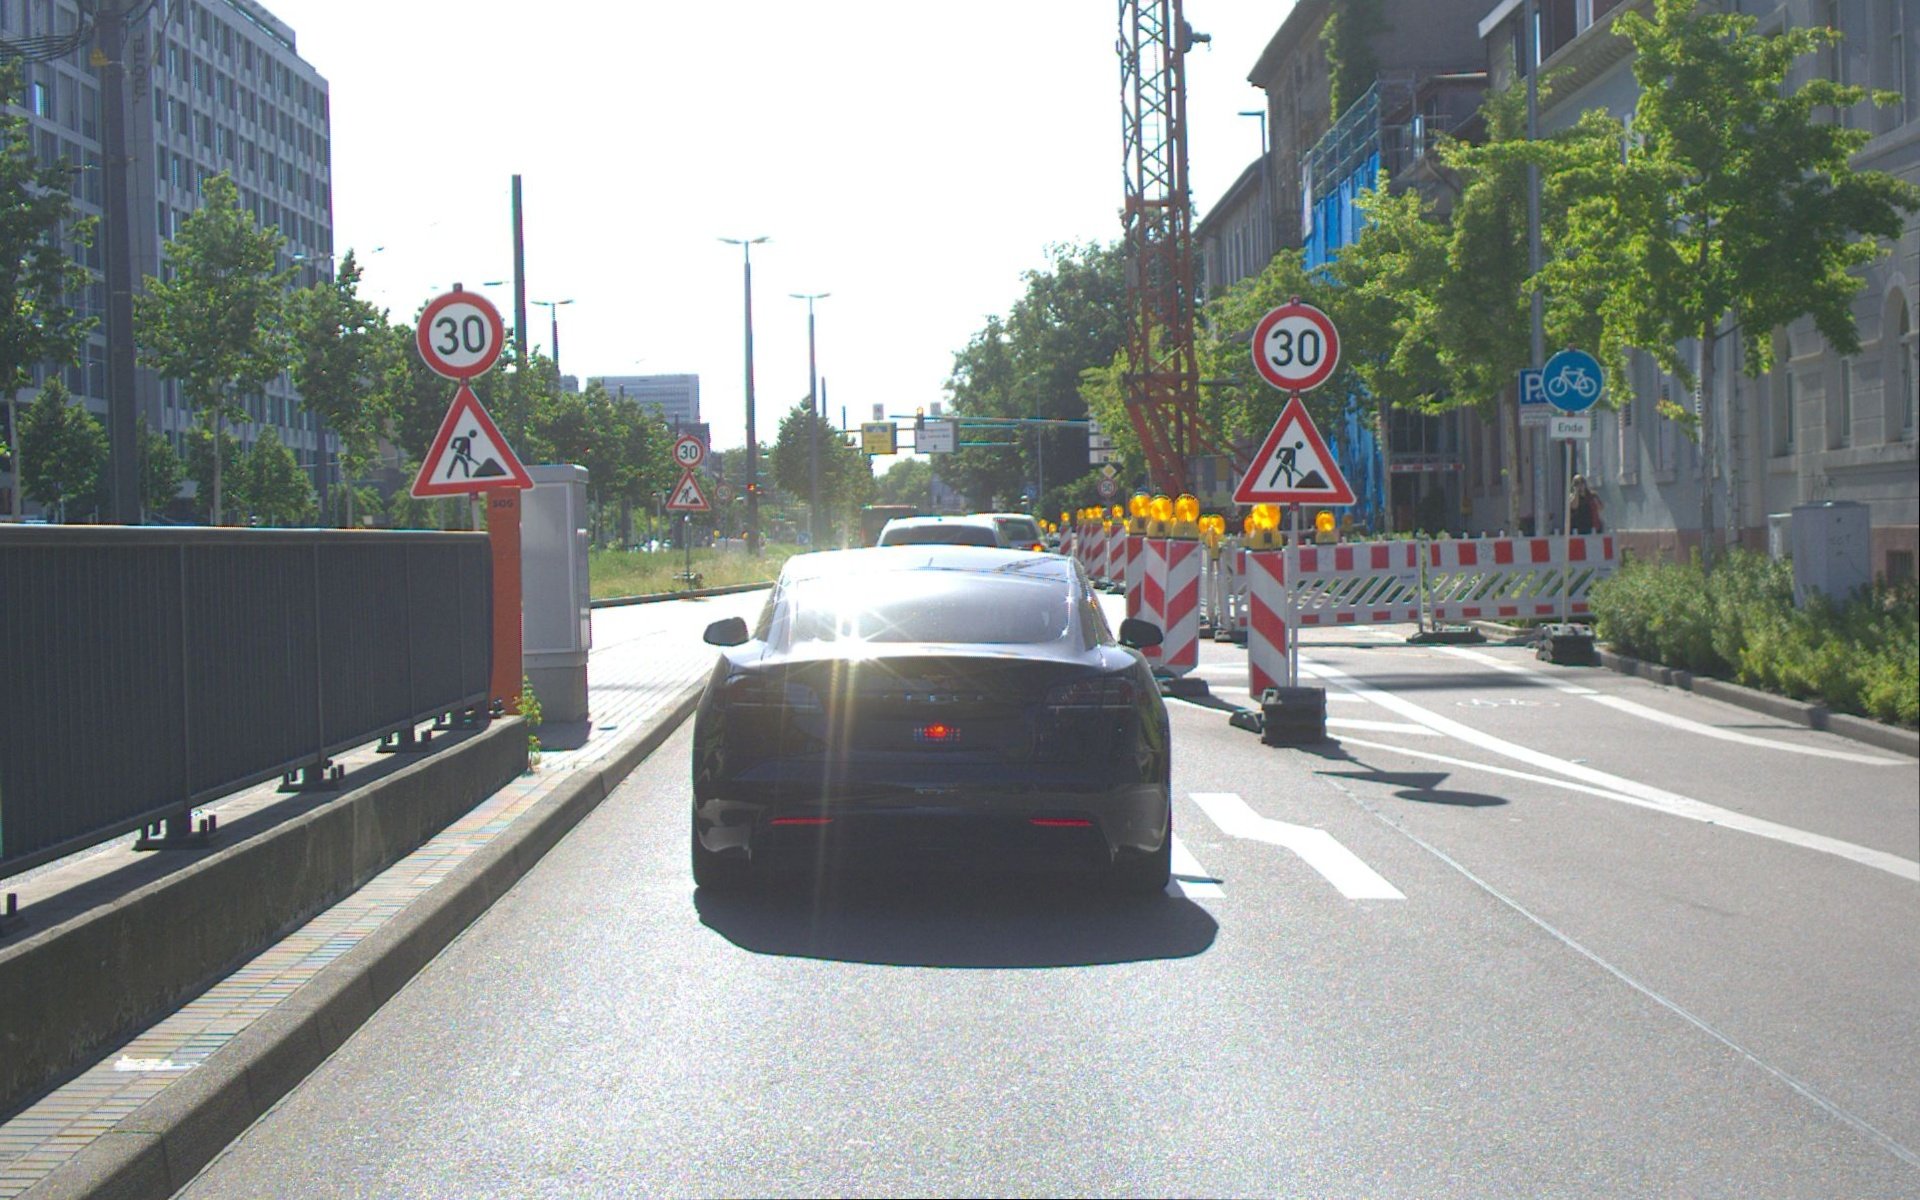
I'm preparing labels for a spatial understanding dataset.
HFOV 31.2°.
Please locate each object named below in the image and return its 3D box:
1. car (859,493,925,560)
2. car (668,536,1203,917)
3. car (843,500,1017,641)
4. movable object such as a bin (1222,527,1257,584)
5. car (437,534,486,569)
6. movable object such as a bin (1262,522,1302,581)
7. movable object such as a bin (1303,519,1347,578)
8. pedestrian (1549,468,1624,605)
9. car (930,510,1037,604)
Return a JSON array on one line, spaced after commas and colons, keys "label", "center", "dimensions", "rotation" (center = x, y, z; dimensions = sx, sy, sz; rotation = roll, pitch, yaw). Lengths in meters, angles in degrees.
[{"label": "car", "center": [-2.350, -2.532, 117.779], "dimensions": [2.218, 2.259, 4.485], "rotation": [0, 2, -1]}, {"label": "car", "center": [-0.120, 0.445, 15.448], "dimensions": [2.051, 1.439, 4.525], "rotation": [0, 1, -1]}, {"label": "car", "center": [-0.332, -0.355, 37.355], "dimensions": [1.747, 1.422, 4.839], "rotation": [-1, 1, -1]}, {"label": "movable object such as a bin", "center": [5.220, -0.840, 64.209], "dimensions": [0.588, 1.054, 0.730], "rotation": [0, 1, 1]}, {"label": "car", "center": [-24.611, -2.404, 169.727], "dimensions": [1.790, 1.645, 4.000], "rotation": [-2, 1, 0]}, {"label": "movable object such as a bin", "center": [6.029, -0.918, 64.448], "dimensions": [0.595, 1.054, 0.730], "rotation": [-5, 1, 1]}, {"label": "movable object such as a bin", "center": [6.832, -0.967, 64.362], "dimensions": [0.587, 1.054, 0.783], "rotation": [-6, 2, -4]}, {"label": "pedestrian", "center": [8.856, -0.905, 48.632], "dimensions": [0.793, 1.922, 0.770], "rotation": [-1, 1, -14]}, {"label": "car", "center": [0.398, -0.748, 58.315], "dimensions": [1.749, 1.522, 4.005], "rotation": [0, 1, 0]}]
